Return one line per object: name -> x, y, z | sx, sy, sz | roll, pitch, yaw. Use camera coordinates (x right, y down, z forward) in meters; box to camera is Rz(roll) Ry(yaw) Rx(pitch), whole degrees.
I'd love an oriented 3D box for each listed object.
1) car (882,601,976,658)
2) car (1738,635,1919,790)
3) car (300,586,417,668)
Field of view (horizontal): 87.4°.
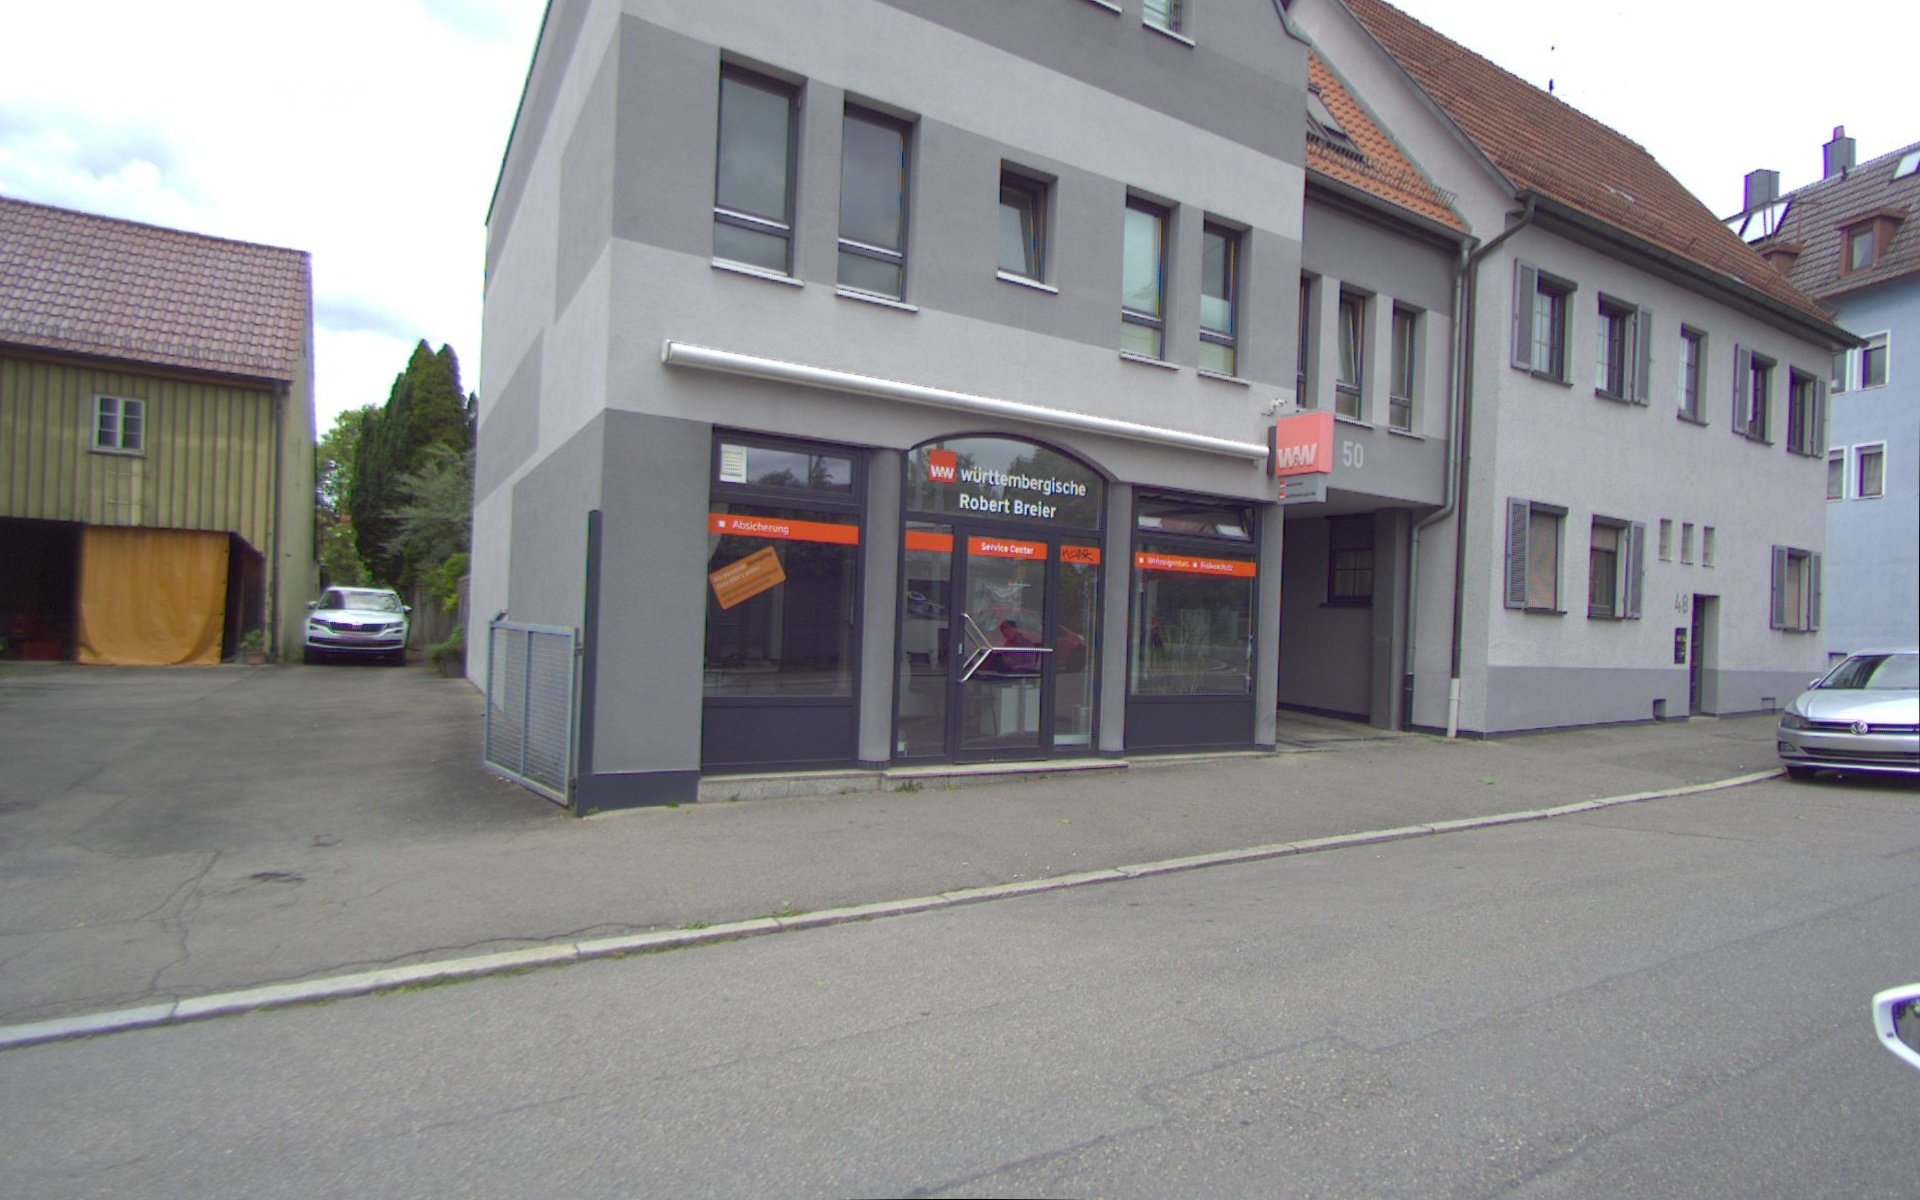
car -> -0.902, 0.782, 26.448 | 1.913, 1.297, 3.905 | 3, -2, -10
car -> 10.708, 1.165, 11.252 | 4.004, 1.498, 1.791 | 2, -4, -31
car -> -12.949, 0.532, 21.708 | 1.924, 1.545, 3.923 | 3, 0, -31
